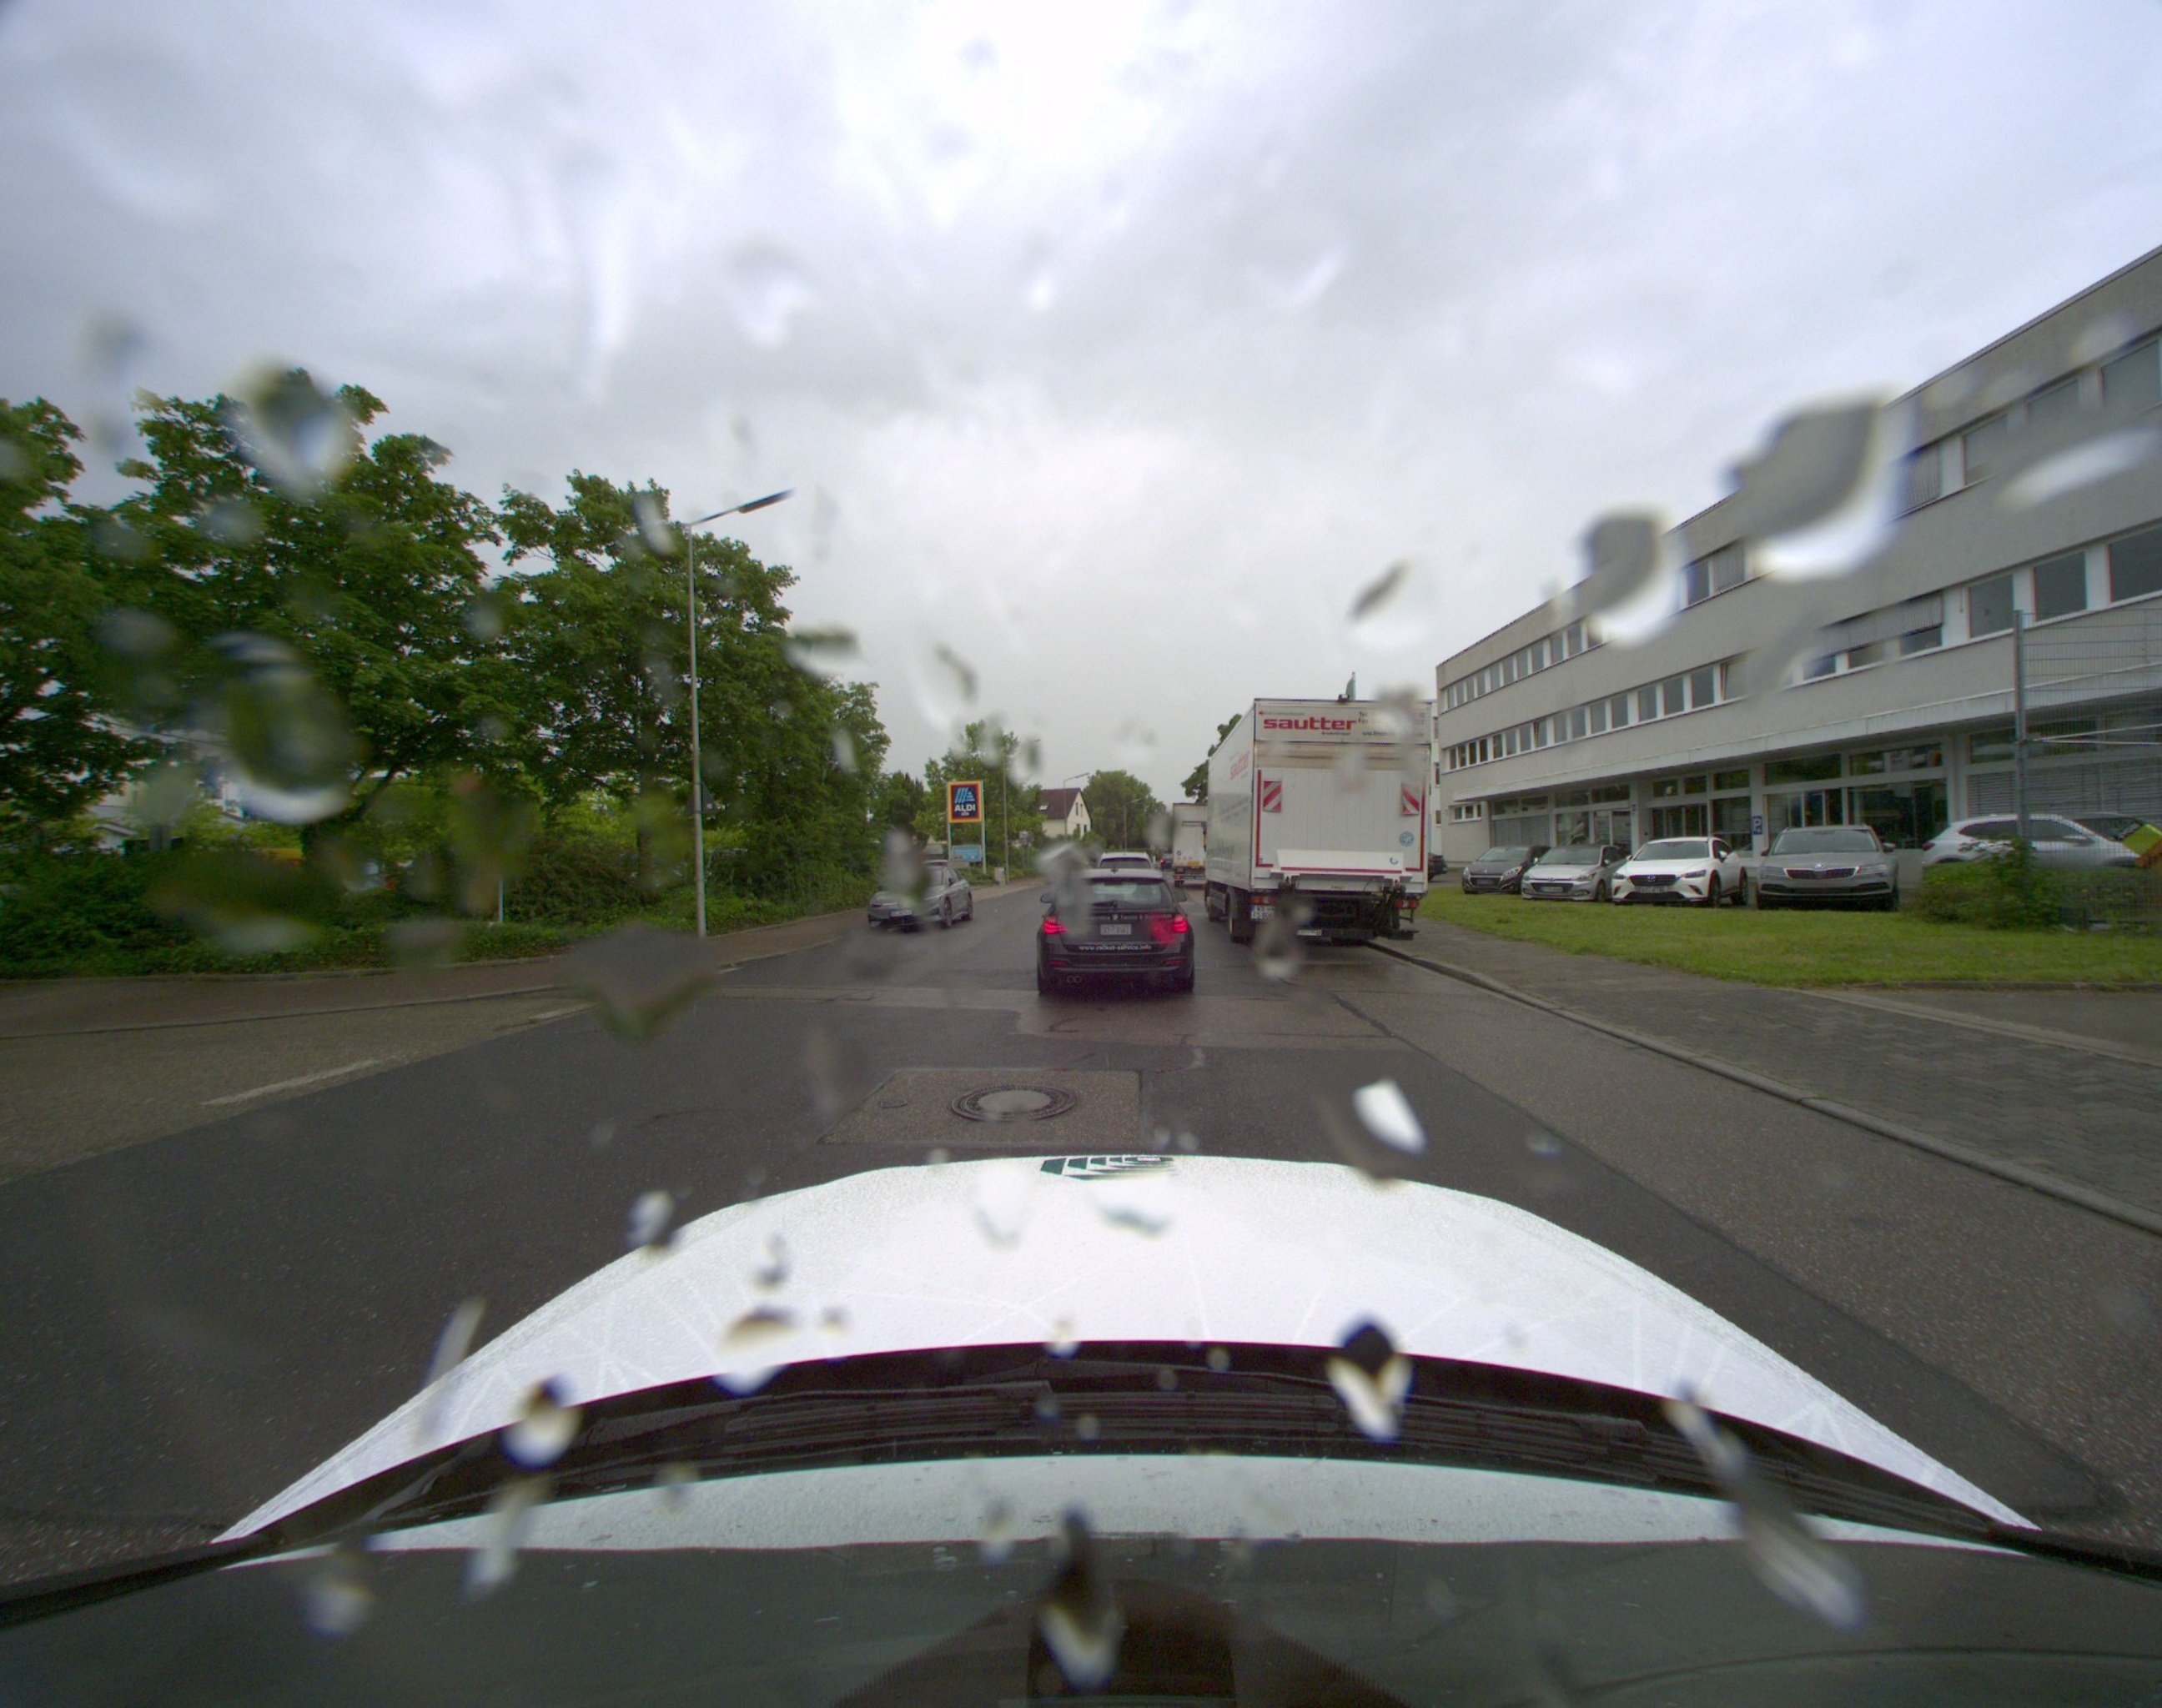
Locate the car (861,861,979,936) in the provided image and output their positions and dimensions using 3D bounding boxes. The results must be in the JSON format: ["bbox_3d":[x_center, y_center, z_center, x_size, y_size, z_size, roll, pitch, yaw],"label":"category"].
[{"bbox_3d":[-3.979,1.041,21.023,1.802,1.528,4.750,-5,-1,2],"label":"car"}]

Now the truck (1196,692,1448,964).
[{"bbox_3d":[4.039,-0.369,16.122,2.729,3.789,9.307,1,0,3],"label":"truck"}]

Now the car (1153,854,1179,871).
[{"bbox_3d":[8.060,0.778,77.105,1.791,1.586,4.016,-1,-1,16],"label":"car"}]

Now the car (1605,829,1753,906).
[{"bbox_3d":[12.888,0.236,17.471,4.022,1.470,1.754,-2,0,-42],"label":"car"}]

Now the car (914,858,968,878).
[{"bbox_3d":[-11.343,1.122,66.146,3.969,1.540,1.912,-2,0,3],"label":"car"}]

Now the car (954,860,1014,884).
[{"bbox_3d":[-6.187,1.150,52.059,3.553,1.460,1.714,0,0,4],"label":"car"}]

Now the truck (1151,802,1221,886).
[{"bbox_3d":[4.943,-0.433,39.590,2.730,3.611,7.755,1,0,3],"label":"truck"}]

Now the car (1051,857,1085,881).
[{"bbox_3d":[-0.834,0.976,54.102,1.697,1.367,4.607,-4,0,5],"label":"car"}]

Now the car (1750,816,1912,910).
[{"bbox_3d":[14.089,0.122,15.223,4.022,1.527,1.850,-2,0,-42],"label":"car"}]

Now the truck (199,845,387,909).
[{"bbox_3d":[-35.787,0.976,37.340,1.984,2.601,6.404,-2,0,5],"label":"truck"}]

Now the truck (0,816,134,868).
[{"bbox_3d":[-44.759,-0.481,34.523,1.986,2.060,6.135,-2,0,1],"label":"truck"}]

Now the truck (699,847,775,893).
[{"bbox_3d":[-22.244,0.973,53.027,1.986,2.753,6.470,-2,0,2],"label":"truck"}]

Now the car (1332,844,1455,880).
[{"bbox_3d":[13.518,0.365,35.395,4.616,1.468,1.802,-2,0,41],"label":"car"}]

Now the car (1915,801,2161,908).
[{"bbox_3d":[18.272,-0.010,14.826,1.986,1.706,4.145,-2,0,2],"label":"car"}]

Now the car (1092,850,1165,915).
[{"bbox_3d":[1.220,0.729,22.244,1.798,1.586,4.001,-1,-1,1],"label":"car"}]

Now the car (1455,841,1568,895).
[{"bbox_3d":[12.592,0.373,23.729,3.789,1.393,1.686,-2,0,-42],"label":"car"}]

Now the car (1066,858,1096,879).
[{"bbox_3d":[0.026,1.023,60.131,1.697,1.367,3.845,-4,0,6],"label":"car"}]

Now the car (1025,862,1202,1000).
[{"bbox_3d":[0.380,0.818,10.396,1.798,1.395,4.001,-1,-1,1],"label":"car"}]

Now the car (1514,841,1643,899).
[{"bbox_3d":[12.707,0.360,20.706,4.022,1.286,1.686,-2,0,-42],"label":"car"}]
